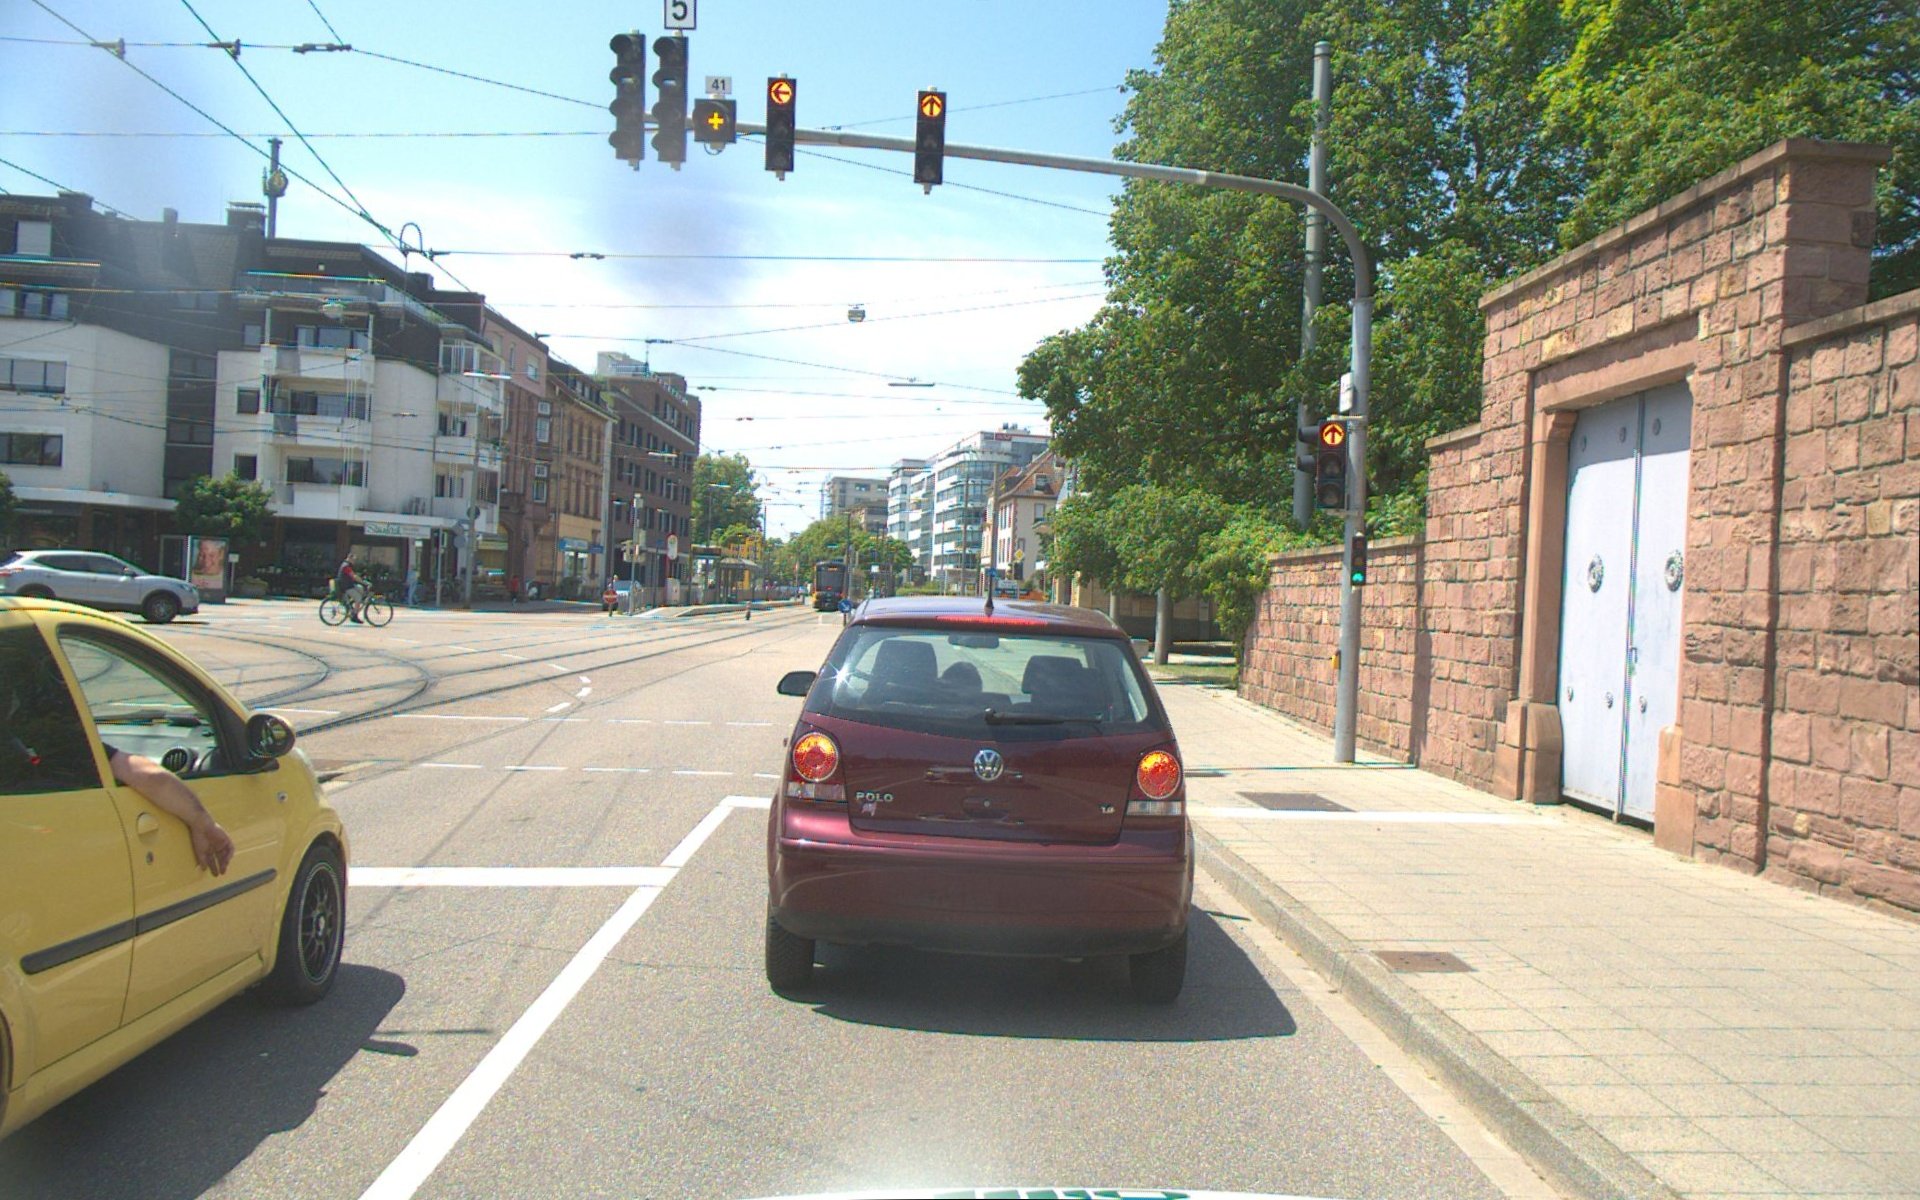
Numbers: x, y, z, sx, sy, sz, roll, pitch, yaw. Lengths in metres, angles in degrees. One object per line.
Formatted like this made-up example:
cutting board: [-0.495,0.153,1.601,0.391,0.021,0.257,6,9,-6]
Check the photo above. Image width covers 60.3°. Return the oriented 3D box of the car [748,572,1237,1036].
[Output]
car: [0.044,0.676,7.556,1.578,1.489,4.084,2,0,-2]

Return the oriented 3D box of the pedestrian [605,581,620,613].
pedestrian: [-20.594,-0.179,97.961,0.648,1.818,0.815,2,0,-1]

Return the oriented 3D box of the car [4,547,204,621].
car: [-20.201,-0.337,39.076,4.096,1.612,1.919,1,-1,-31]

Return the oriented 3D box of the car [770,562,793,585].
car: [-16.564,-2.463,153.506,1.700,2.049,3.999,2,0,-1]

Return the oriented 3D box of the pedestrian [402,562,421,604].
pedestrian: [-23.340,-0.725,70.386,0.497,1.785,0.606,0,-1,45]

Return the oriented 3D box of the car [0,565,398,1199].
car: [-2.924,0.639,4.562,1.689,1.470,3.291,0,1,-2]

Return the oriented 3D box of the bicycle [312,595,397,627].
bicycle: [-15.336,0.281,41.928,1.969,0.797,0.459,2,-1,-41]

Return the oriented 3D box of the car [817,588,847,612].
car: [-8.999,0.014,116.389,1.899,1.670,3.998,1,-1,-2]

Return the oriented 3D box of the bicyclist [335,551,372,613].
bicyclist: [-15.328,-0.452,41.805,0.745,1.527,0.475,2,-1,-41]

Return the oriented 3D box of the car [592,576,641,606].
car: [-17.750,-0.461,85.613,1.654,1.488,4.000,2,0,0]

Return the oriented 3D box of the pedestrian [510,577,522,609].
pedestrian: [-21.666,-0.342,80.703,0.474,1.568,0.538,1,-1,-4]

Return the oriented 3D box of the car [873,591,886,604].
car: [-9.485,-0.316,195.282,1.541,1.440,3.719,0,0,-2]
